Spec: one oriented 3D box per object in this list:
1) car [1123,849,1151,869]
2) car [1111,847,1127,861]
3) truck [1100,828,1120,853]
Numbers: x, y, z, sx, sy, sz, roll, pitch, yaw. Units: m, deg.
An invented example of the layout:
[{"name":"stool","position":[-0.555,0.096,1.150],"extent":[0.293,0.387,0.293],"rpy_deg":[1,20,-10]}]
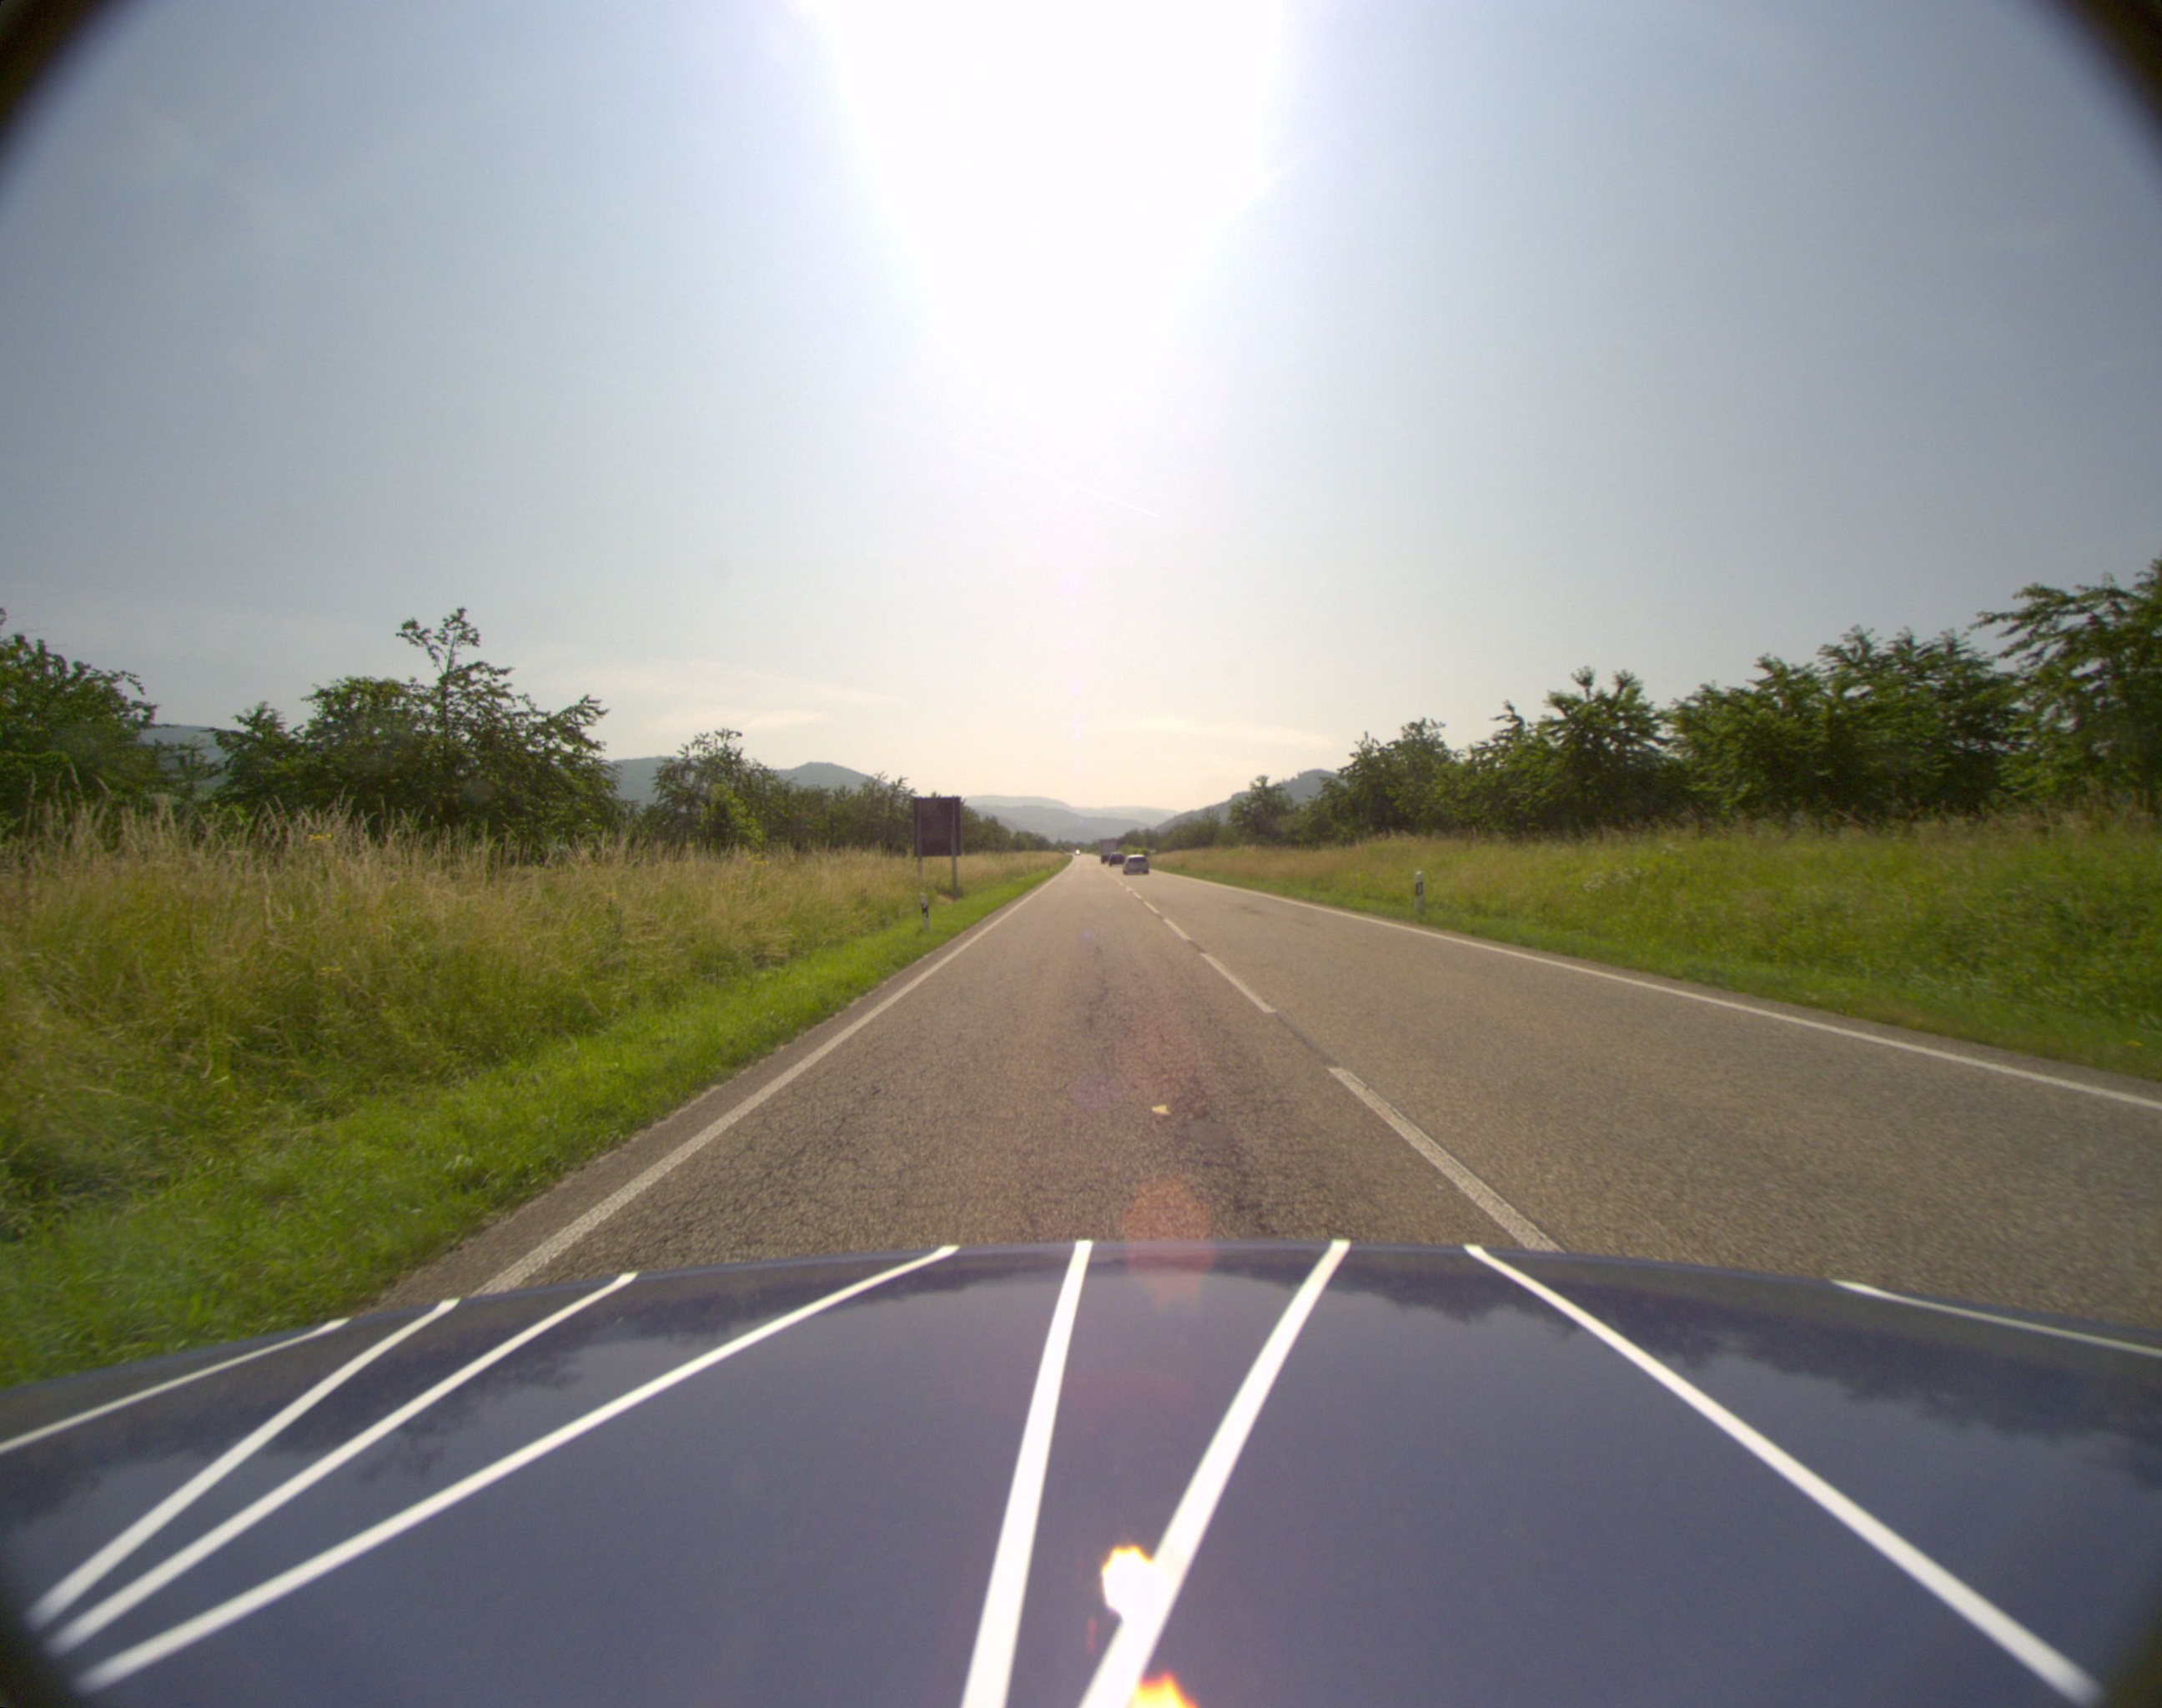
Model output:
[{"name":"car","position":[4.134,0.343,56.906],"extent":[1.694,1.400,4.893],"rpy_deg":[-2,1,0]},{"name":"car","position":[4.579,-0.032,92.092],"extent":[1.840,1.668,4.411],"rpy_deg":[-2,1,2]},{"name":"truck","position":[4.664,-2.197,124.033],"extent":[2.671,3.816,10.207],"rpy_deg":[-2,1,0]}]
